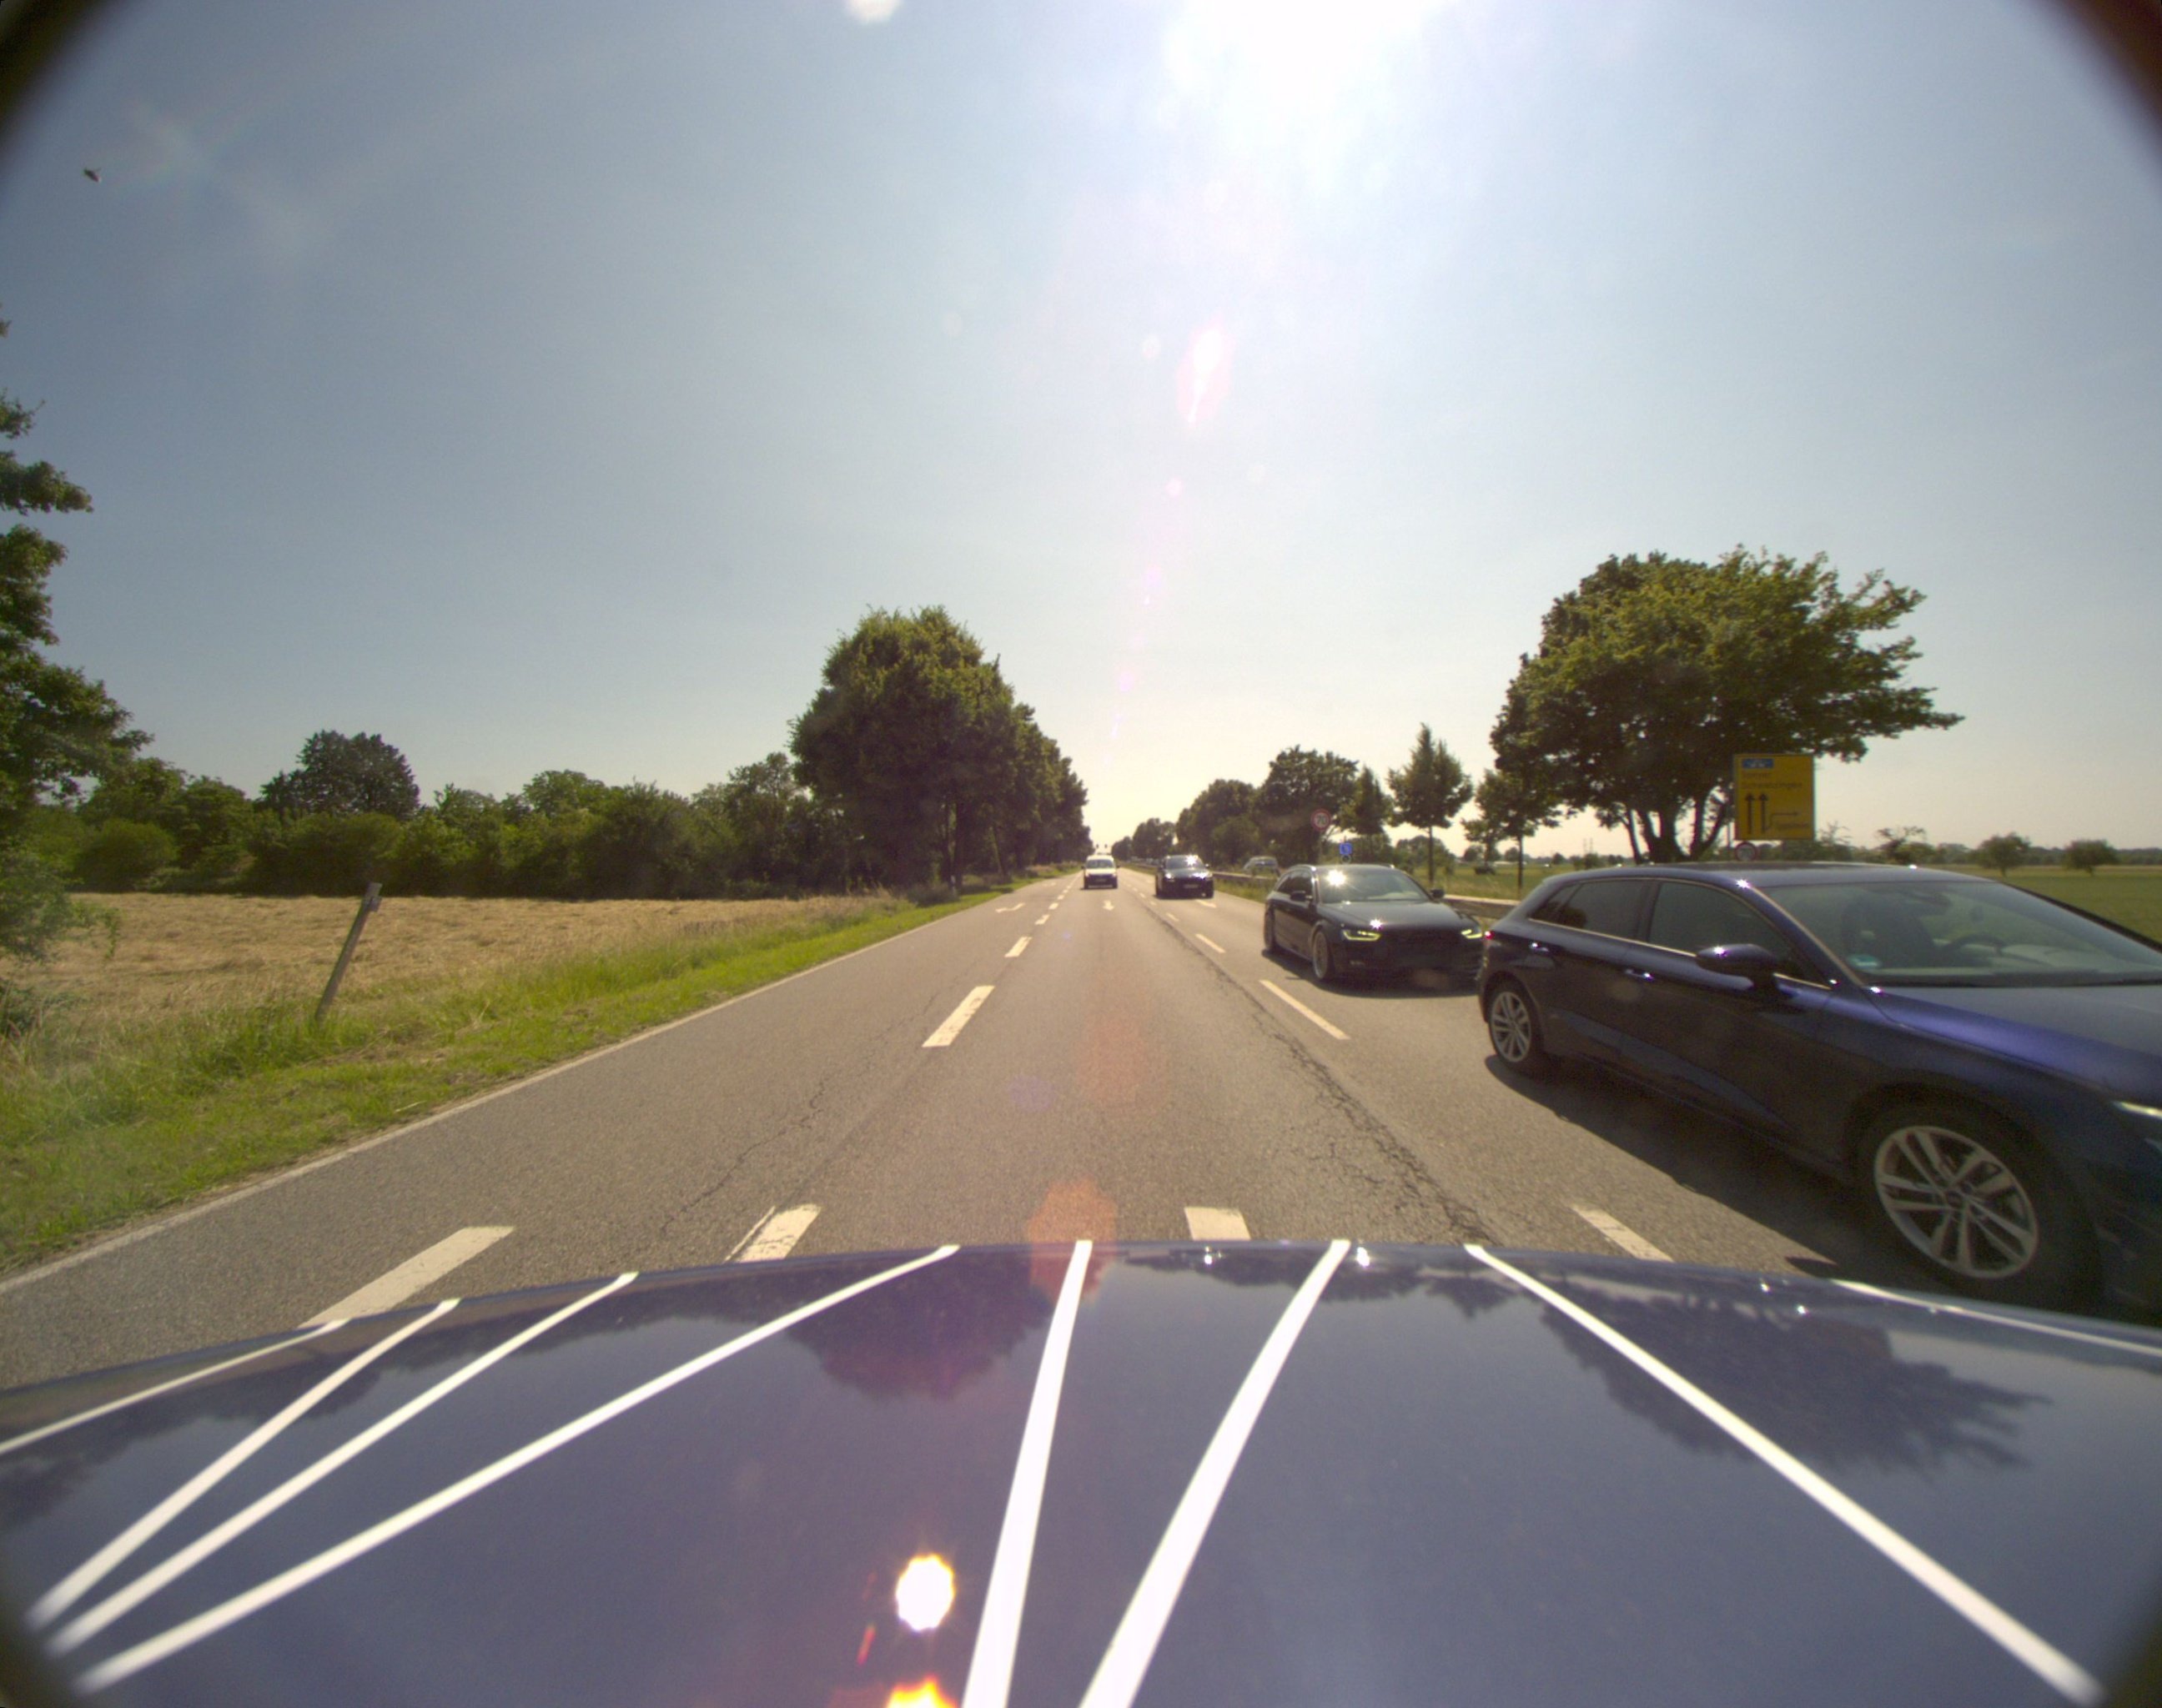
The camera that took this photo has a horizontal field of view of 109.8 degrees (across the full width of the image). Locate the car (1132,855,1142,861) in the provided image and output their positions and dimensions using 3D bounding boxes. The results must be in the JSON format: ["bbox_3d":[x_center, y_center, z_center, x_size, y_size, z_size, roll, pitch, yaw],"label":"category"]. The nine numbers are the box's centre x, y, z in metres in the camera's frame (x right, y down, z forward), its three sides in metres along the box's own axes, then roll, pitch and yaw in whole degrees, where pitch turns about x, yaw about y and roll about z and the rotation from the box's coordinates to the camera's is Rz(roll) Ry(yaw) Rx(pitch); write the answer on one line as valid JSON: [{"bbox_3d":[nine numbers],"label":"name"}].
[{"bbox_3d":[13.047,0.947,175.848,1.998,1.547,4.480,0,0,0],"label":"car"}]

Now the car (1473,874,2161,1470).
[{"bbox_3d":[3.712,0.891,3.485,1.721,1.456,4.030,-2,0,0],"label":"car"}]

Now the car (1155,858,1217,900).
[{"bbox_3d":[4.060,0.931,29.969,1.860,1.507,4.100,-1,0,0],"label":"car"}]

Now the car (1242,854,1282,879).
[{"bbox_3d":[14.051,0.952,59.338,1.998,1.940,4.830,0,0,0],"label":"car"}]

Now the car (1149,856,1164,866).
[{"bbox_3d":[11.923,1.097,120.674,1.998,1.653,4.481,0,0,0],"label":"car"}]

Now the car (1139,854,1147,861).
[{"bbox_3d":[17.597,1.003,215.567,2.043,2.002,4.532,0,0,0],"label":"car"}]

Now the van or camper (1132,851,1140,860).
[{"bbox_3d":[17.900,0.642,248.136,2.391,2.931,7.092,-1,0,1],"label":"van or camper"}]

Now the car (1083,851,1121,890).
[{"bbox_3d":[1.072,0.809,40.006,1.777,1.863,4.581,-2,0,1],"label":"car"}]

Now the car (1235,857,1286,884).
[{"bbox_3d":[10.335,0.924,44.074,1.884,1.446,4.504,0,0,0],"label":"car"}]

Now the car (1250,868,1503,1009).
[{"bbox_3d":[3.635,0.939,10.307,1.744,1.372,4.455,-2,0,1],"label":"car"}]

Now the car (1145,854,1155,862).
[{"bbox_3d":[16.878,1.058,185.439,1.998,1.949,4.927,0,0,0],"label":"car"}]
